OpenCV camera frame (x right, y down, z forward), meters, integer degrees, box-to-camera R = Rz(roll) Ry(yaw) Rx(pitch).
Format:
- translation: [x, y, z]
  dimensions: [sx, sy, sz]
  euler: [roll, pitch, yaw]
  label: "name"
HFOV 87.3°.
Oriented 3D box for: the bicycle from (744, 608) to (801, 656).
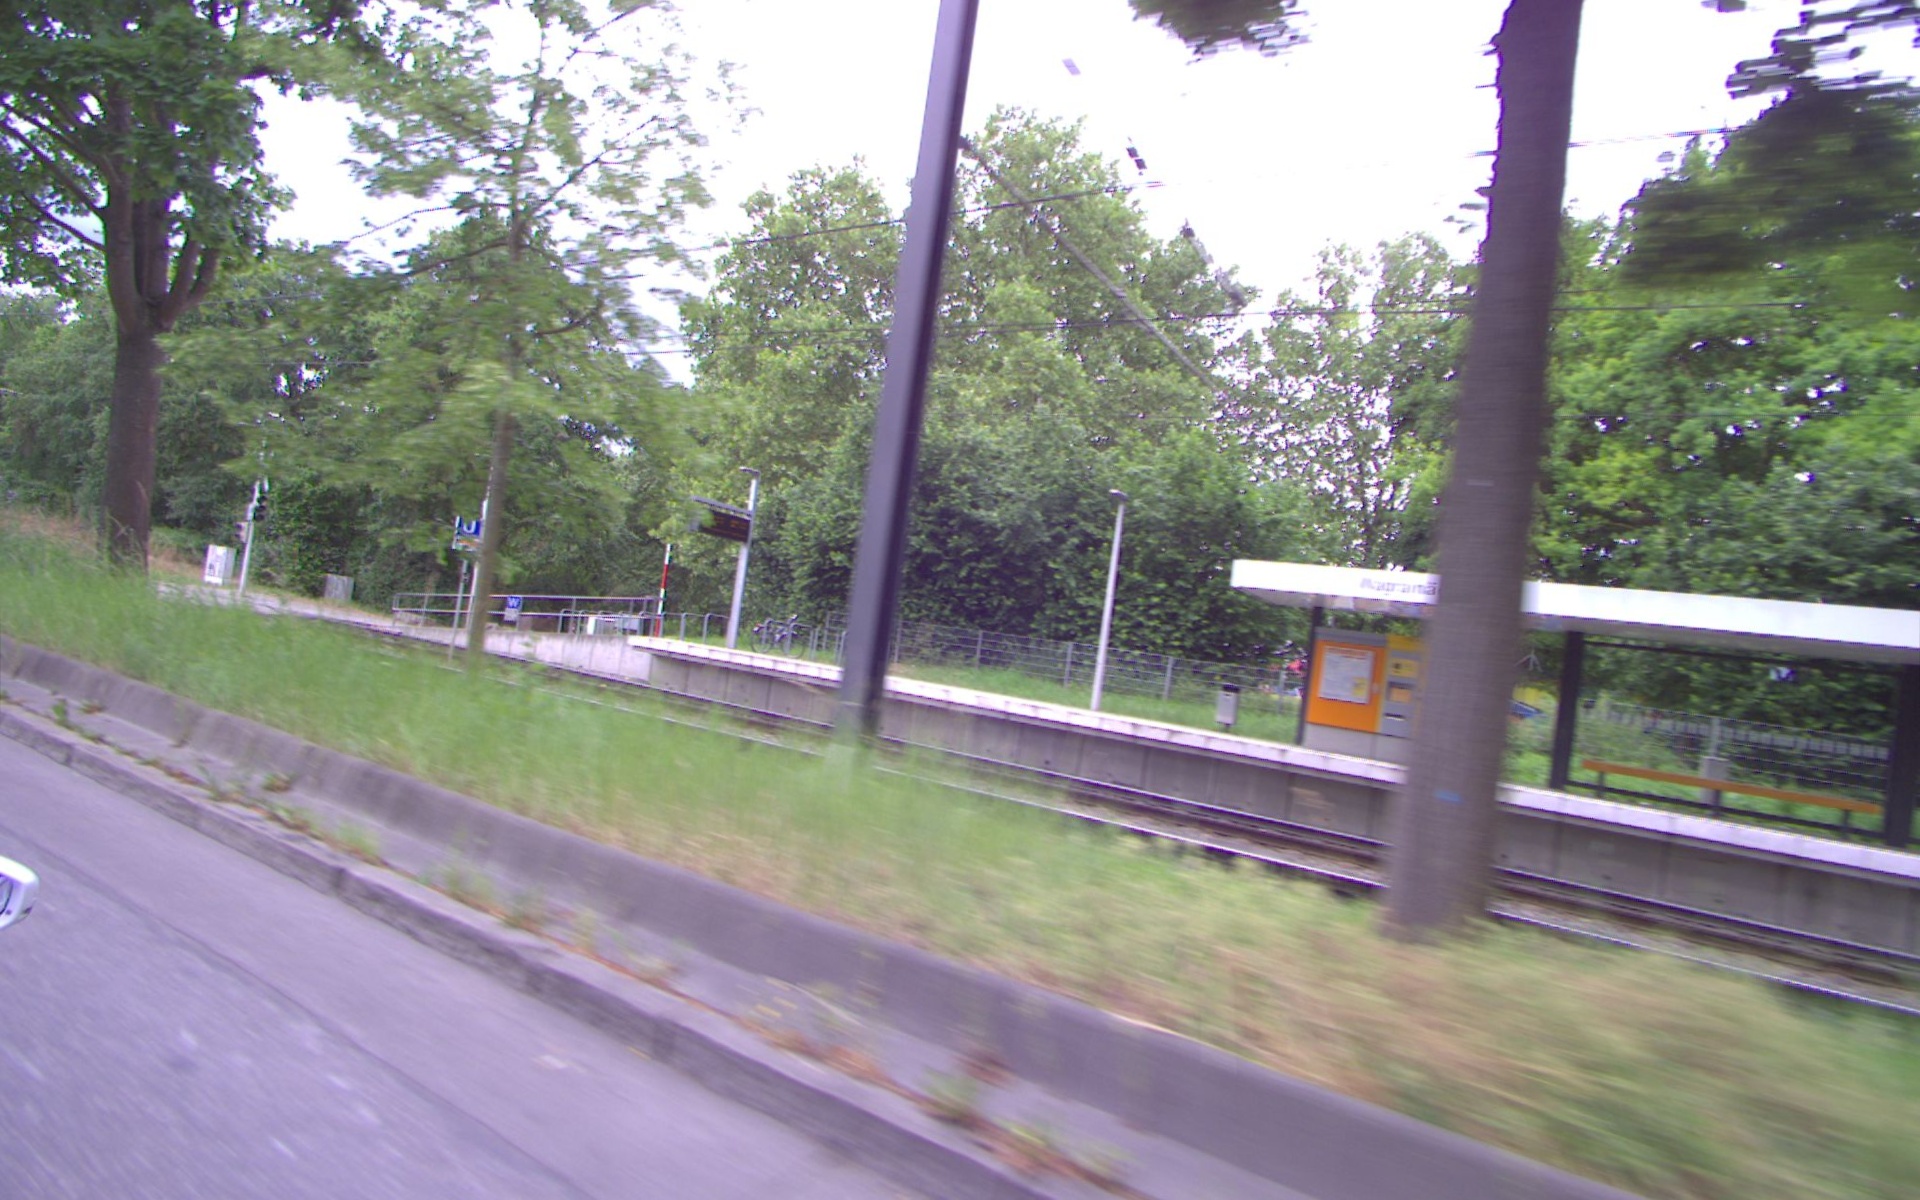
- translation: [-4.672, 0.820, 25.162]
  dimensions: [0.442, 0.983, 1.514]
  euler: [8, -4, 28]
  label: "bicycle"
